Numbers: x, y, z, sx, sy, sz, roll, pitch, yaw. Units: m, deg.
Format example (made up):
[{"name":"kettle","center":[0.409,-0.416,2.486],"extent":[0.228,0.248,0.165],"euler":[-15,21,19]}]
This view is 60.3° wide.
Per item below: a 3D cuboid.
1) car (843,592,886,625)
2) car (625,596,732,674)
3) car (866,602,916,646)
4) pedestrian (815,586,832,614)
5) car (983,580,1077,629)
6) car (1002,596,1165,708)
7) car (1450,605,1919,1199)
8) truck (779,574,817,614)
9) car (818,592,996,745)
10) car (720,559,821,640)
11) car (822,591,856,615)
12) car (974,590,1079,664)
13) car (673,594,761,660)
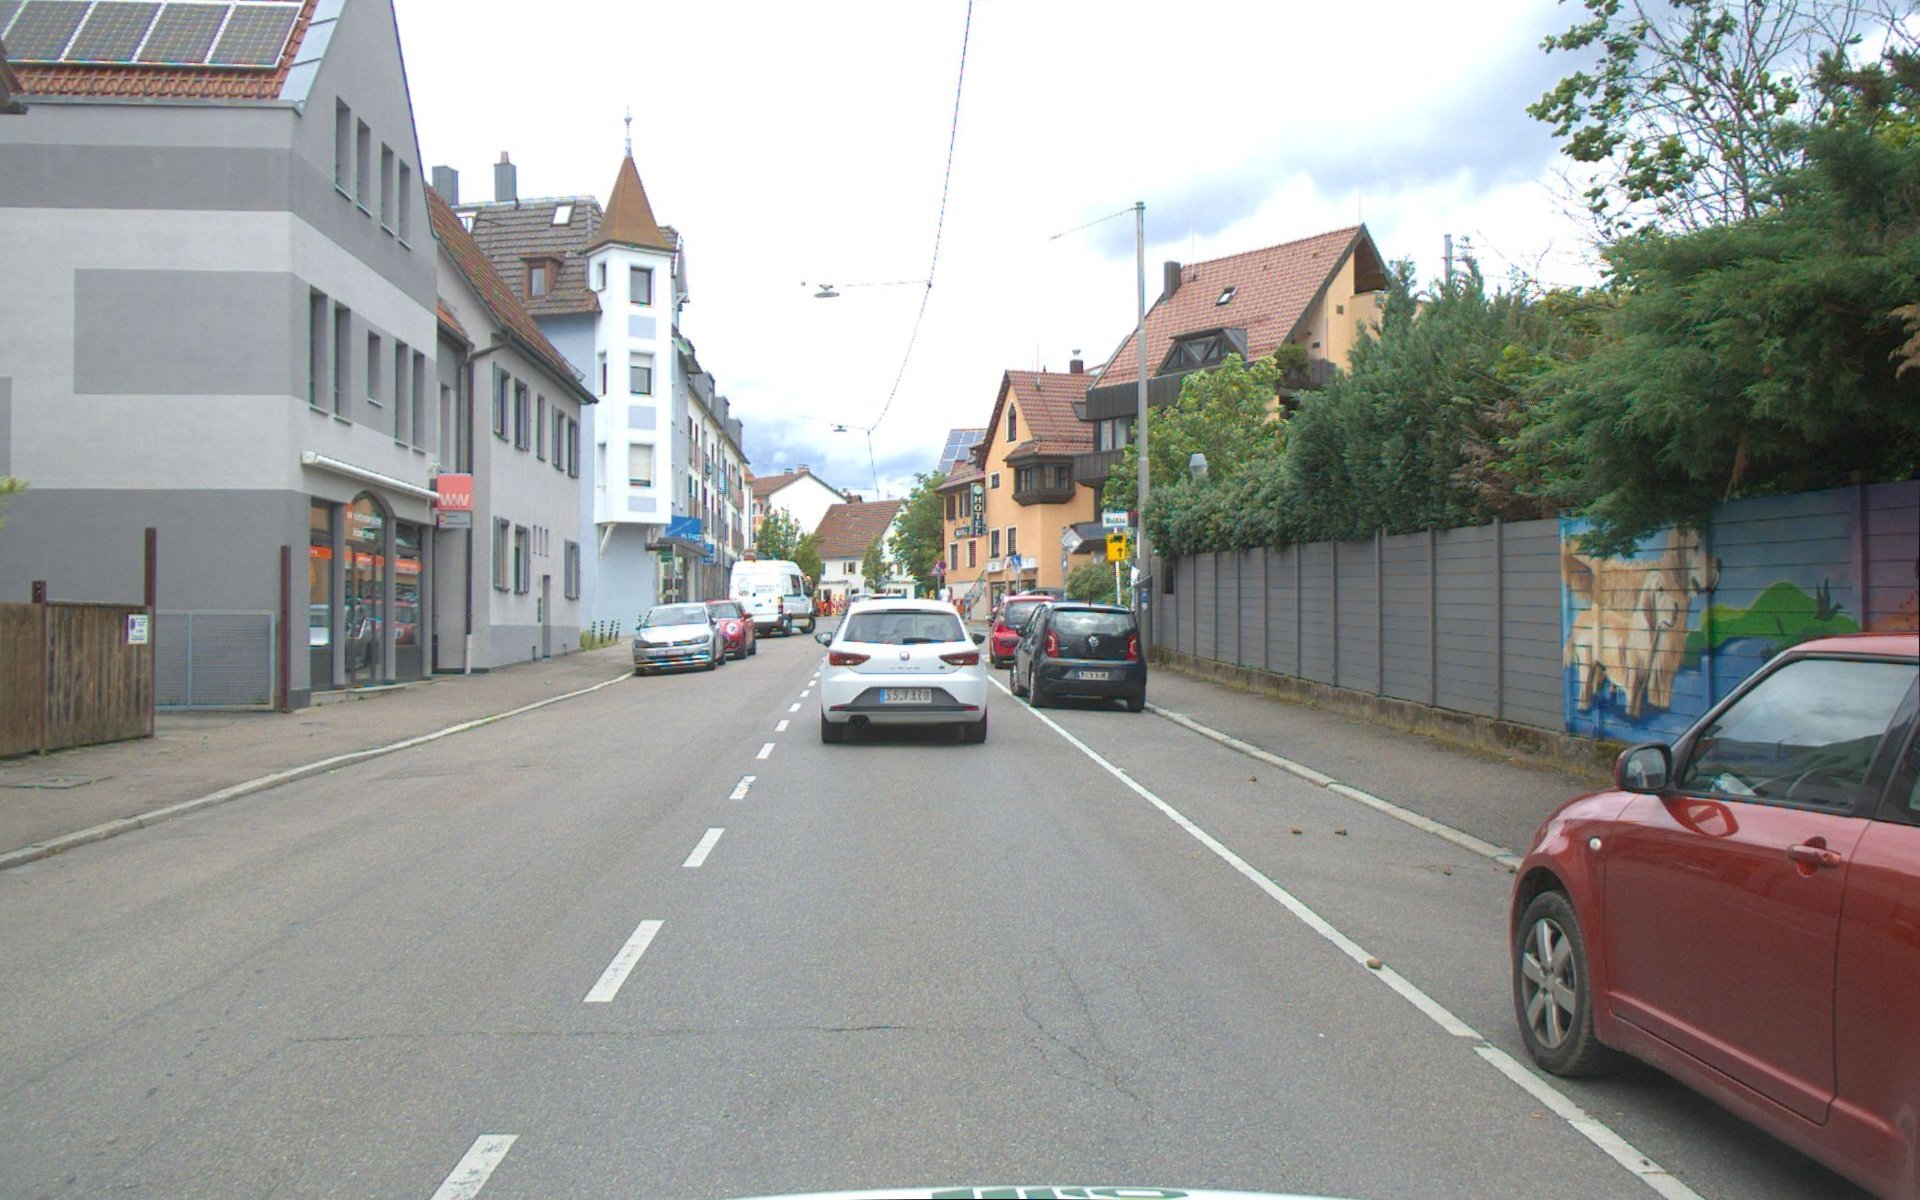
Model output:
[{"name":"car","center":[-4.394,0.371,75.591],"extent":[1.725,1.477,3.994],"euler":[-1,0,-7]},{"name":"car","center":[-6.104,0.712,36.229],"extent":[1.763,1.505,4.048],"euler":[-3,0,-3]},{"name":"car","center":[-2.460,0.824,58.987],"extent":[1.723,1.477,3.998],"euler":[-1,0,-3]},{"name":"pedestrian","center":[-9.750,-0.005,118.086],"extent":[1.203,2.049,1.175],"euler":[0,0,-2]},{"name":"car","center":[2.301,0.147,54.643],"extent":[2.760,1.538,1.703],"euler":[1,2,-14]},{"name":"car","center":[1.708,0.688,24.175],"extent":[1.724,1.477,3.995],"euler":[-1,0,-6]},{"name":"car","center":[2.897,0.786,4.527],"extent":[1.723,1.477,3.997],"euler":[1,0,-3]},{"name":"truck","center":[-10.495,-0.401,107.357],"extent":[2.109,2.502,5.392],"euler":[1,1,-2]},{"name":"car","center":[-0.596,0.664,18.157],"extent":[1.723,1.477,3.998],"euler":[-1,0,-2]},{"name":"car","center":[-6.701,-0.043,59.205],"extent":[2.106,2.734,5.550],"euler":[1,0,10]},{"name":"car","center":[-9.040,0.202,123.718],"extent":[1.756,1.731,4.003],"euler":[0,0,8]},{"name":"car","center":[1.372,0.543,35.454],"extent":[1.724,1.477,3.995],"euler":[-1,0,-6]},{"name":"car","center":[-6.109,0.648,41.983],"extent":[1.763,1.505,4.048],"euler":[-3,0,-3]}]
